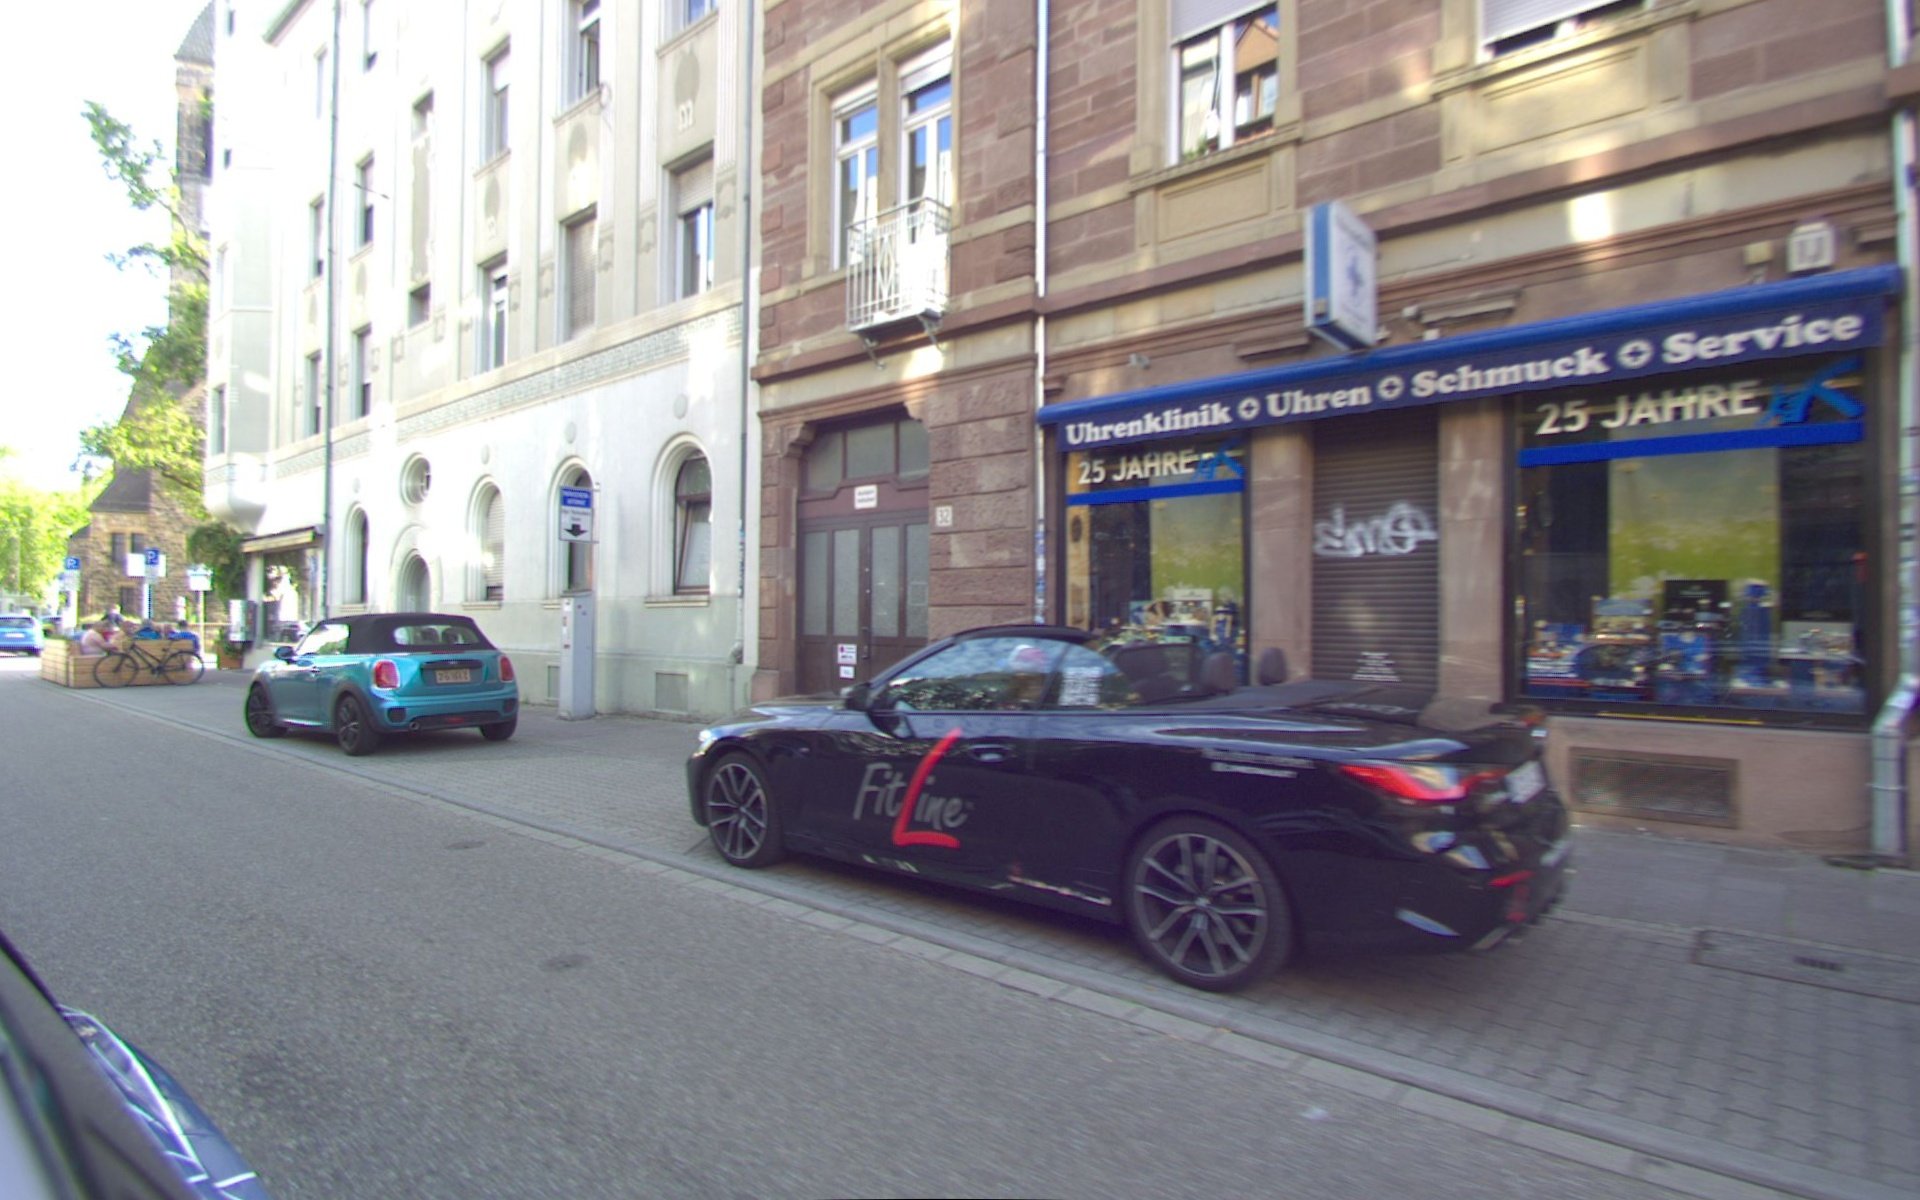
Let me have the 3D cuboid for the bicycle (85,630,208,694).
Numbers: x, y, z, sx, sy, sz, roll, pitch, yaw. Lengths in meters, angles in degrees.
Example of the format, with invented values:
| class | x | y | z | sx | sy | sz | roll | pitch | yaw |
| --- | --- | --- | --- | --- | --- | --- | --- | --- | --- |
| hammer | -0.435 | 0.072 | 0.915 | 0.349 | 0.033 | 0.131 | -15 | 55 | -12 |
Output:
| class | x | y | z | sx | sy | sz | roll | pitch | yaw |
| --- | --- | --- | --- | --- | --- | --- | --- | --- | --- |
| bicycle | -16.260 | 1.216 | 20.253 | 0.688 | 1.184 | 1.848 | -1 | -1 | 43 |

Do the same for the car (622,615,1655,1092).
| class | x | y | z | sx | sy | sz | roll | pitch | yaw |
| --- | --- | --- | --- | --- | --- | --- | --- | --- | --- |
| car | 0.430 | 0.773 | 5.272 | 5.111 | 1.361 | 1.793 | -1 | -1 | 40 |

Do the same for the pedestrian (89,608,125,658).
| class | x | y | z | sx | sy | sz | roll | pitch | yaw |
| --- | --- | --- | --- | --- | --- | --- | --- | --- | --- |
| pedestrian | -29.787 | 1.132 | 35.346 | 0.879 | 1.722 | 0.834 | -1 | -1 | 41 |

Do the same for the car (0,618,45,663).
| class | x | y | z | sx | sy | sz | roll | pitch | yaw |
| --- | --- | --- | --- | --- | --- | --- | --- | --- | --- |
| car | -33.952 | 1.401 | 35.878 | 4.168 | 1.497 | 1.804 | -1 | -1 | 41 |

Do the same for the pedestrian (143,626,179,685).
| class | x | y | z | sx | sy | sz | roll | pitch | yaw |
| --- | --- | --- | --- | --- | --- | --- | --- | --- | --- |
| pedestrian | -17.586 | 1.205 | 22.274 | 0.589 | 1.253 | 0.694 | 0 | -1 | -42 |

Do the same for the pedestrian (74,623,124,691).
| class | x | y | z | sx | sy | sz | roll | pitch | yaw |
| --- | --- | --- | --- | --- | --- | --- | --- | --- | --- |
| pedestrian | -17.846 | 1.158 | 20.978 | 0.644 | 1.359 | 0.729 | -1 | -1 | 44 |

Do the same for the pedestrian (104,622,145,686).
| class | x | y | z | sx | sy | sz | roll | pitch | yaw |
| --- | --- | --- | --- | --- | --- | --- | --- | --- | --- |
| pedestrian | -18.094 | 1.158 | 21.911 | 0.658 | 1.346 | 0.740 | 0 | -1 | -42 |

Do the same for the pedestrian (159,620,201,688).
| class | x | y | z | sx | sy | sz | roll | pitch | yaw |
| --- | --- | --- | --- | --- | --- | --- | --- | --- | --- |
| pedestrian | -16.538 | 1.128 | 21.450 | 0.684 | 1.383 | 0.628 | -1 | -1 | 45 |

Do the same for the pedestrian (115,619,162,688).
| class | x | y | z | sx | sy | sz | roll | pitch | yaw |
| --- | --- | --- | --- | --- | --- | --- | --- | --- | --- |
| pedestrian | -17.059 | 1.093 | 21.007 | 0.740 | 1.383 | 0.680 | -1 | -1 | 45 |

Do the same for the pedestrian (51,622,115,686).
| class | x | y | z | sx | sy | sz | roll | pitch | yaw |
| --- | --- | --- | --- | --- | --- | --- | --- | --- | --- |
| pedestrian | -19.729 | 1.191 | 22.777 | 1.073 | 1.383 | 0.896 | 0 | -1 | -41 |

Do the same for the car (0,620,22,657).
| class | x | y | z | sx | sy | sz | roll | pitch | yaw |
| --- | --- | --- | --- | --- | --- | --- | --- | --- | --- |
| car | -38.572 | 1.507 | 39.956 | 3.998 | 1.431 | 1.886 | -1 | -1 | 41 |

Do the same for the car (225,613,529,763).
| class | x | y | z | sx | sy | sz | roll | pitch | yaw |
| --- | --- | --- | --- | --- | --- | --- | --- | --- | --- |
| car | -6.776 | 0.880 | 11.610 | 4.006 | 1.426 | 1.654 | -1 | -1 | 38 |
